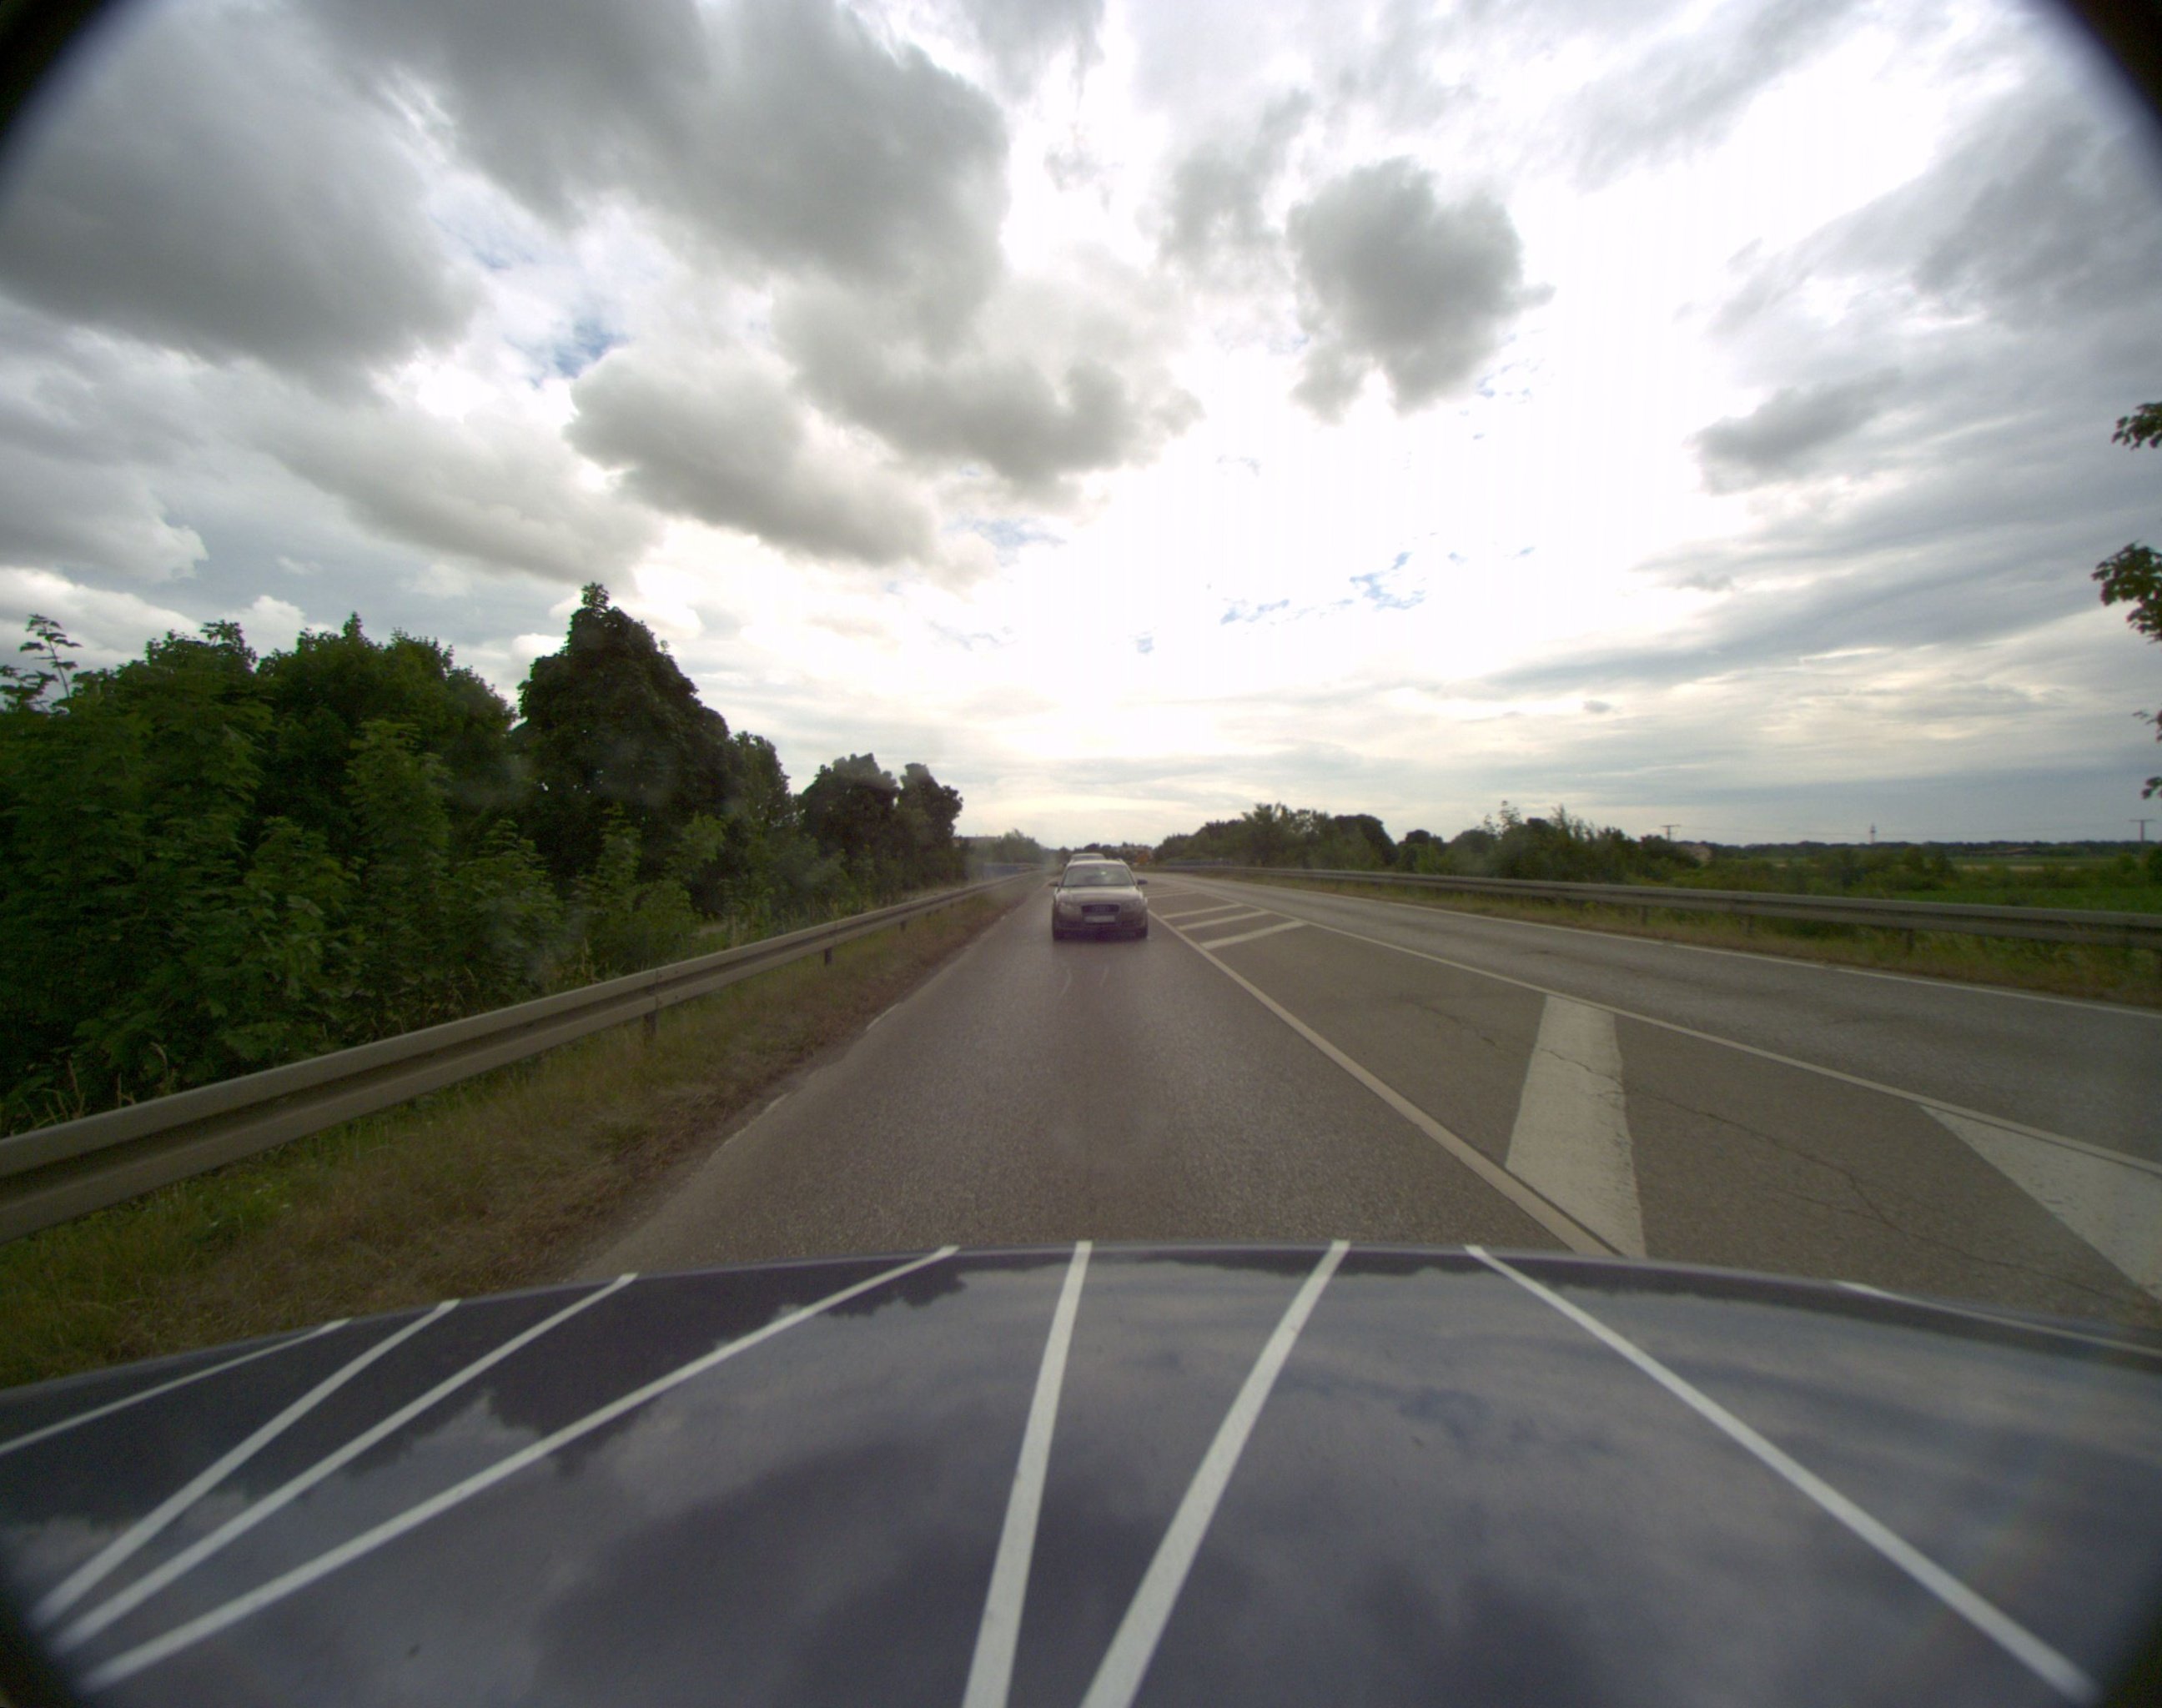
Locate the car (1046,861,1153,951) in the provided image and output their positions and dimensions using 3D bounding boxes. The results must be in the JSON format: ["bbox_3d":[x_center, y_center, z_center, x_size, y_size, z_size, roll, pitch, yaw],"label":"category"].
[{"bbox_3d":[0.291,0.888,14.696,1.768,1.383,3.876,-2,1,-1],"label":"car"}]

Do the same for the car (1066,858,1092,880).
[{"bbox_3d":[-0.152,0.993,51.099,1.670,1.339,4.000,-2,0,0],"label":"car"}]

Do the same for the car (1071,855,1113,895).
[{"bbox_3d":[0.437,0.830,31.767,1.603,1.494,3.962,-2,0,1],"label":"car"}]
